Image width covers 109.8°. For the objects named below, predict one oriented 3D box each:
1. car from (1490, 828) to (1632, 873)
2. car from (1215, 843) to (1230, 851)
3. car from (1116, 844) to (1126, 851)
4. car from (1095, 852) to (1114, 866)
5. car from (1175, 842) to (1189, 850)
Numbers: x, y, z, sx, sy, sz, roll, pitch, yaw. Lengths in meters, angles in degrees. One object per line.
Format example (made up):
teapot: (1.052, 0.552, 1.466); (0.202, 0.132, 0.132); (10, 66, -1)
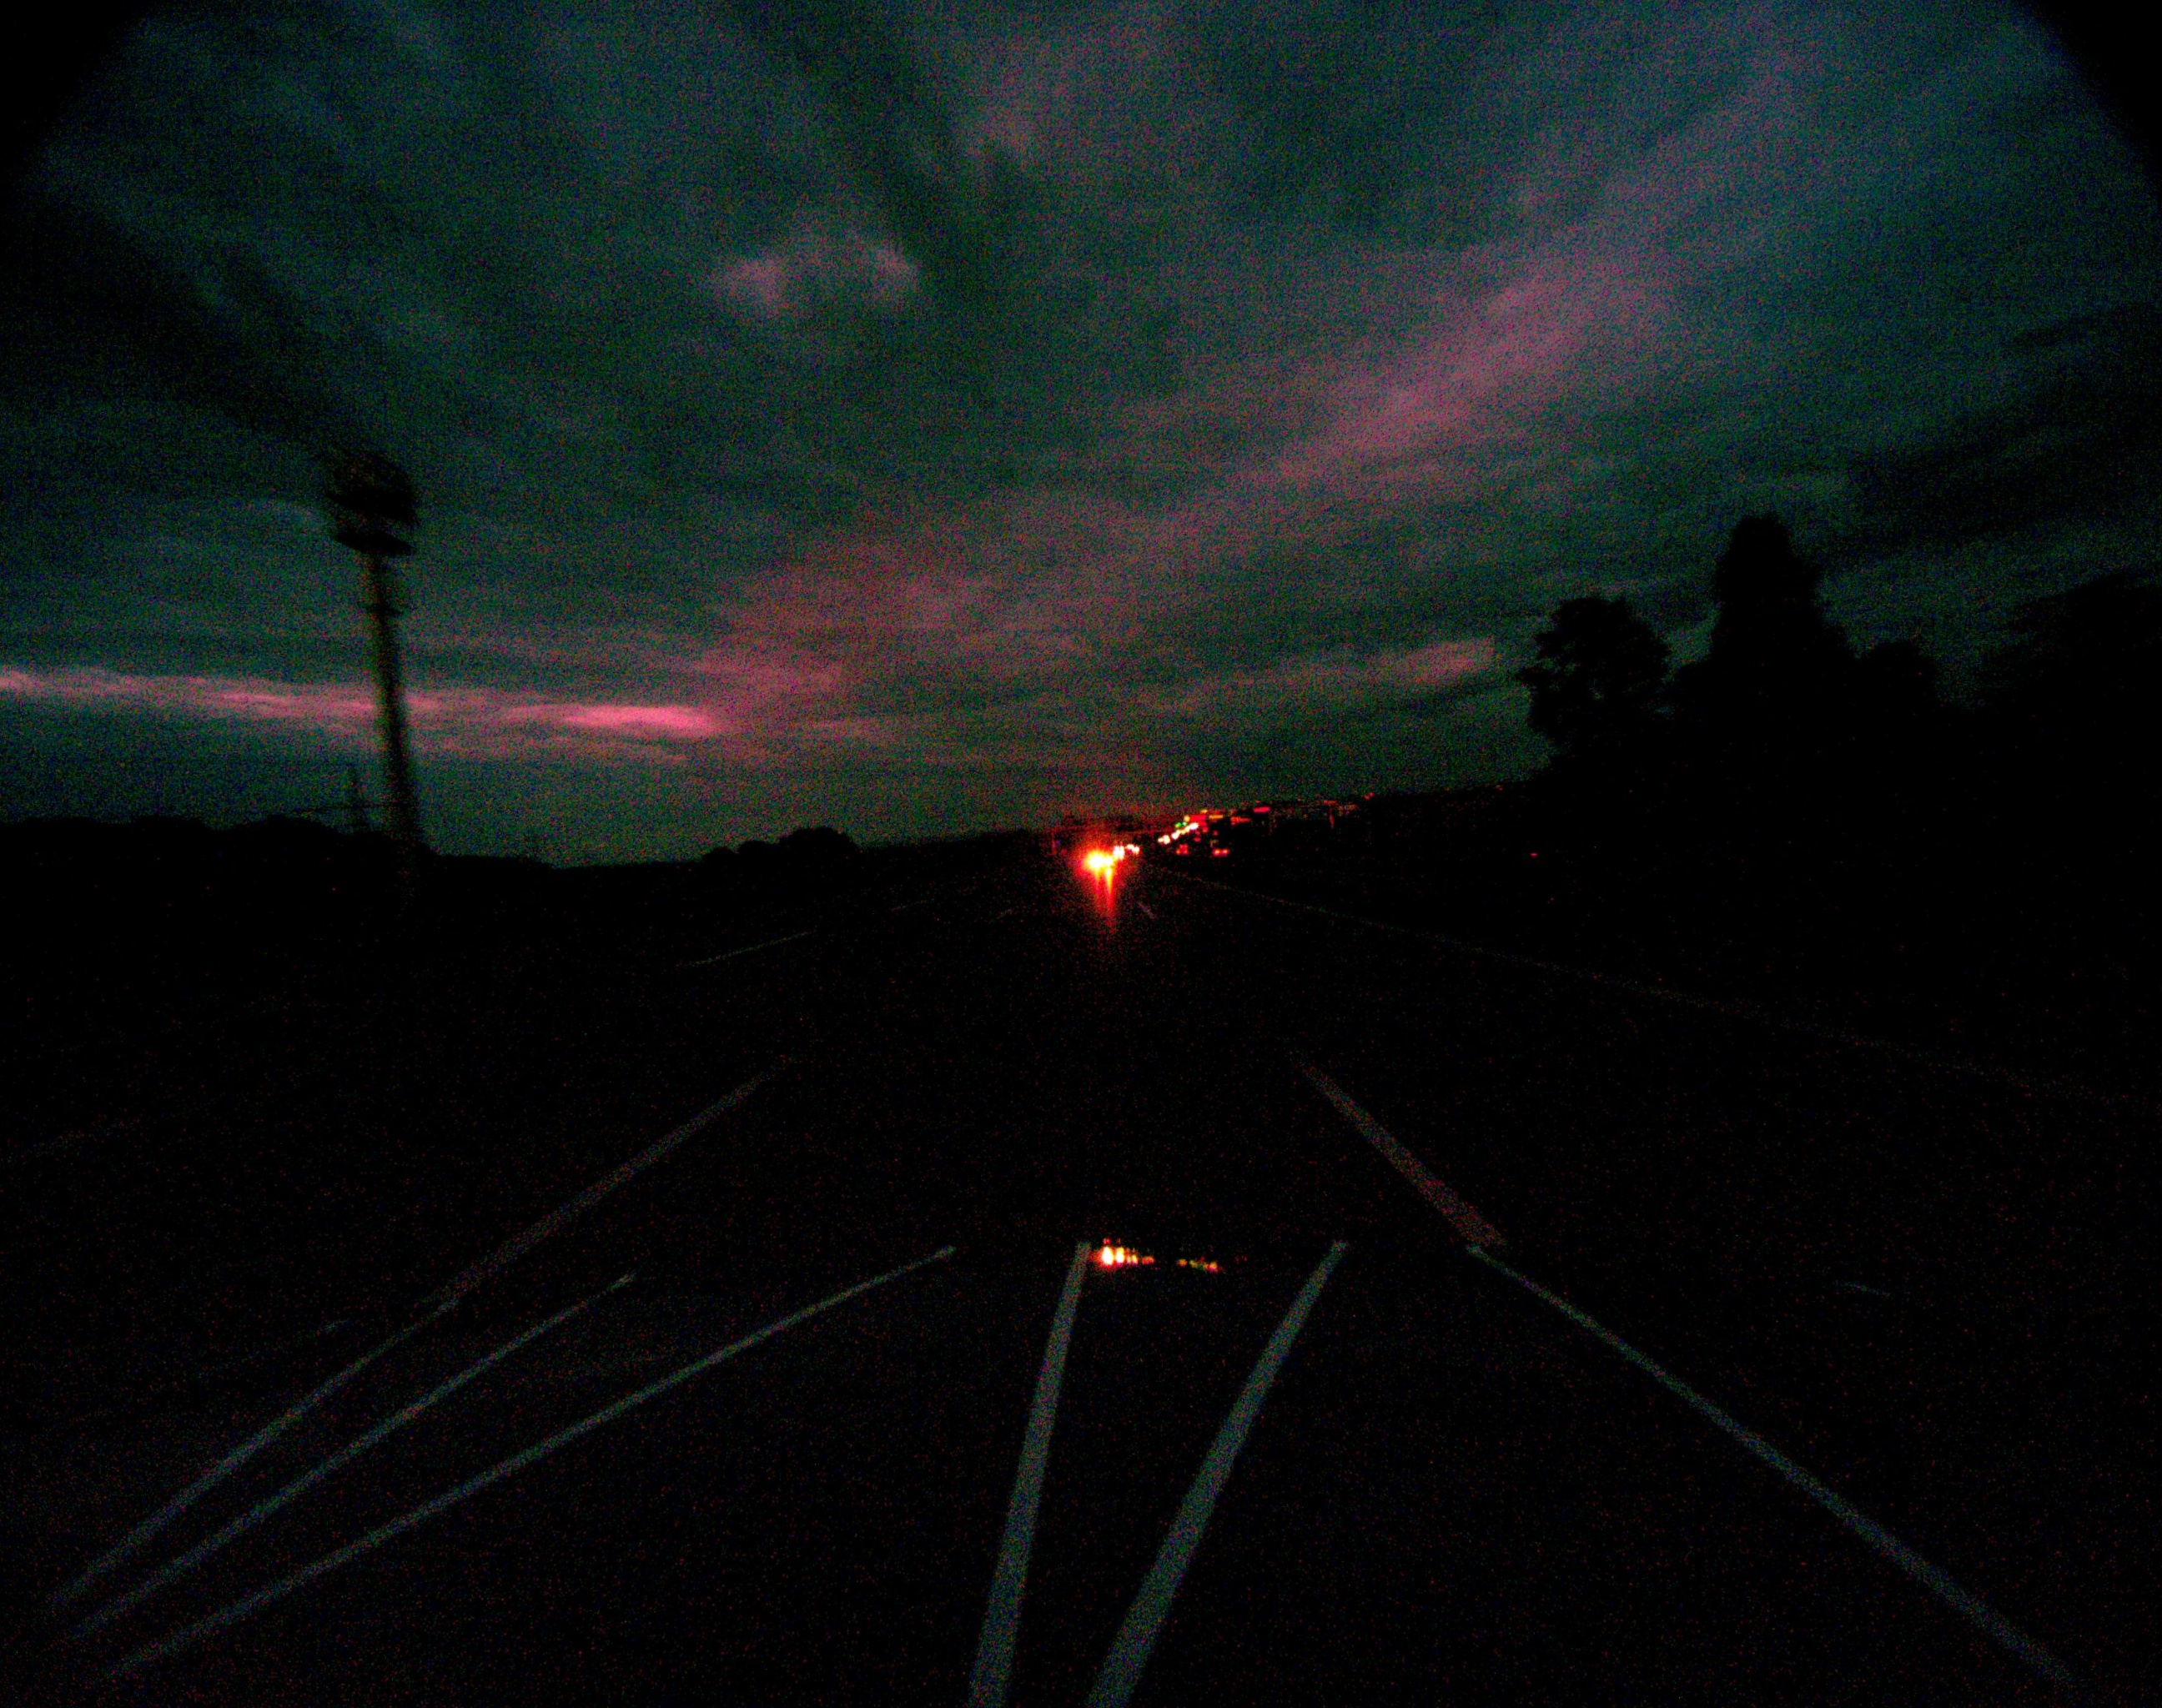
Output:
car: (17.368, -0.131, 27.860); (1.999, 1.395, 4.796); (-2, 0, -3)
car: (21.975, -1.051, 118.255); (1.725, 1.220, 4.183); (-2, 0, 2)
car: (10.461, -1.692, 196.891); (1.997, 1.342, 4.177); (-5, 2, 10)
car: (2.519, 0.545, 81.816); (1.998, 1.342, 4.174); (-1, 2, 2)
car: (19.163, -1.499, 143.861); (1.998, 1.395, 4.329); (-2, 0, 1)
